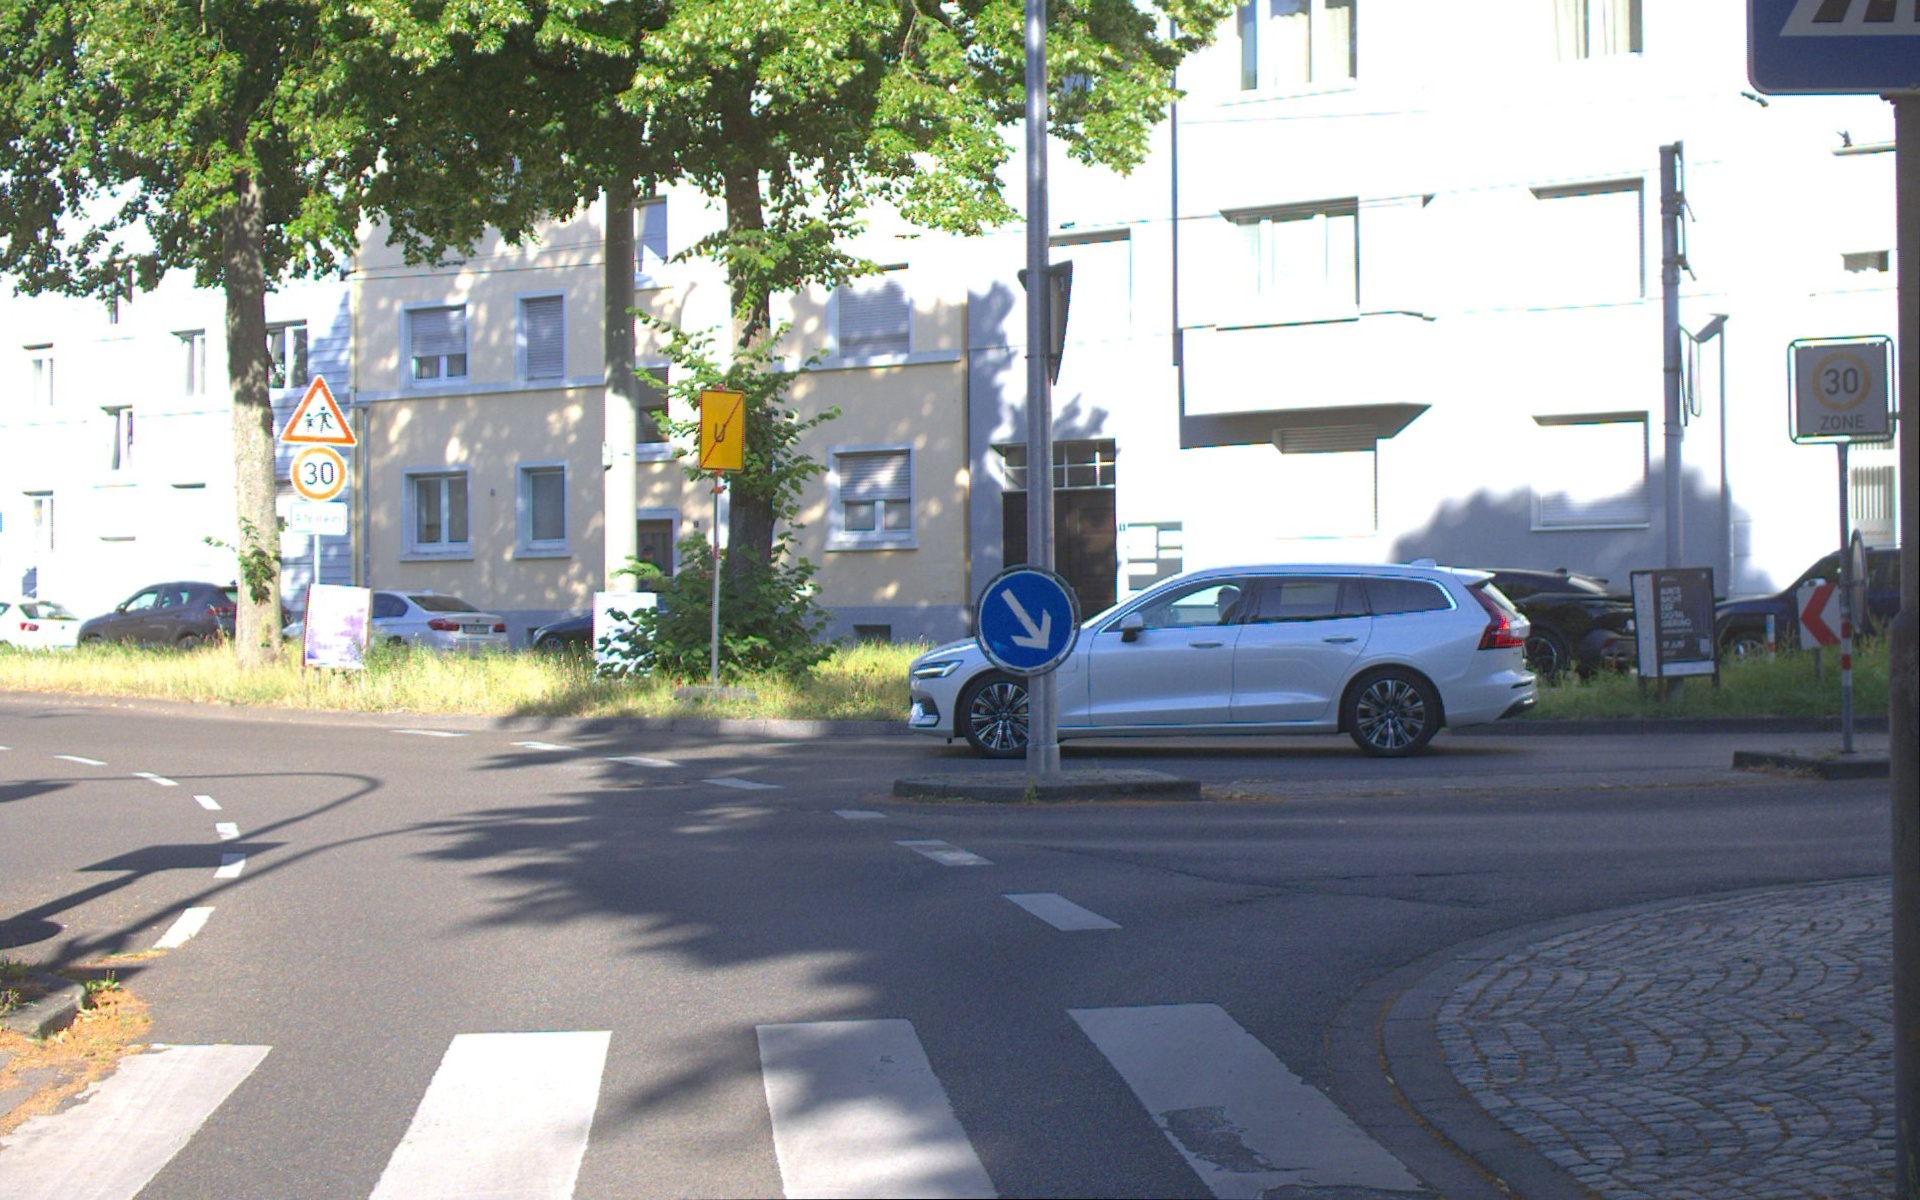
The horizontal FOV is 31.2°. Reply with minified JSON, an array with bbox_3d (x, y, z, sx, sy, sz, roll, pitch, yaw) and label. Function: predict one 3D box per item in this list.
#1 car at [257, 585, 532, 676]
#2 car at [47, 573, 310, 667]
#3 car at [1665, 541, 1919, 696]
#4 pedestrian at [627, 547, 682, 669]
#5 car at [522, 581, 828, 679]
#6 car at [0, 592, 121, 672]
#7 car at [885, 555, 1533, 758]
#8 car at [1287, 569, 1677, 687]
[{"bbox_3d":[-9.298,0.474,56.383,4.441,1.382,1.996,1,1,39],"label":"car"},{"bbox_3d":[-13.677,0.352,60.027,4.636,1.567,1.996,-1,0,39],"label":"car"},{"bbox_3d":[10.560,0.186,39.953,4.205,1.743,1.996,1,1,38],"label":"car"},{"bbox_3d":[-5.069,0.128,57.003,0.649,2.007,0.612,0,0,39],"label":"pedestrian"},{"bbox_3d":[-4.327,0.417,51.923,4.441,1.382,1.996,1,1,39],"label":"car"},{"bbox_3d":[-17.735,0.560,63.368,4.441,1.382,1.996,0,1,36],"label":"car"},{"bbox_3d":[1.938,0.395,26.152,4.758,1.458,1.854,0,1,9],"label":"car"},{"bbox_3d":[6.516,0.310,43.146,4.441,1.382,1.996,1,1,39],"label":"car"}]
